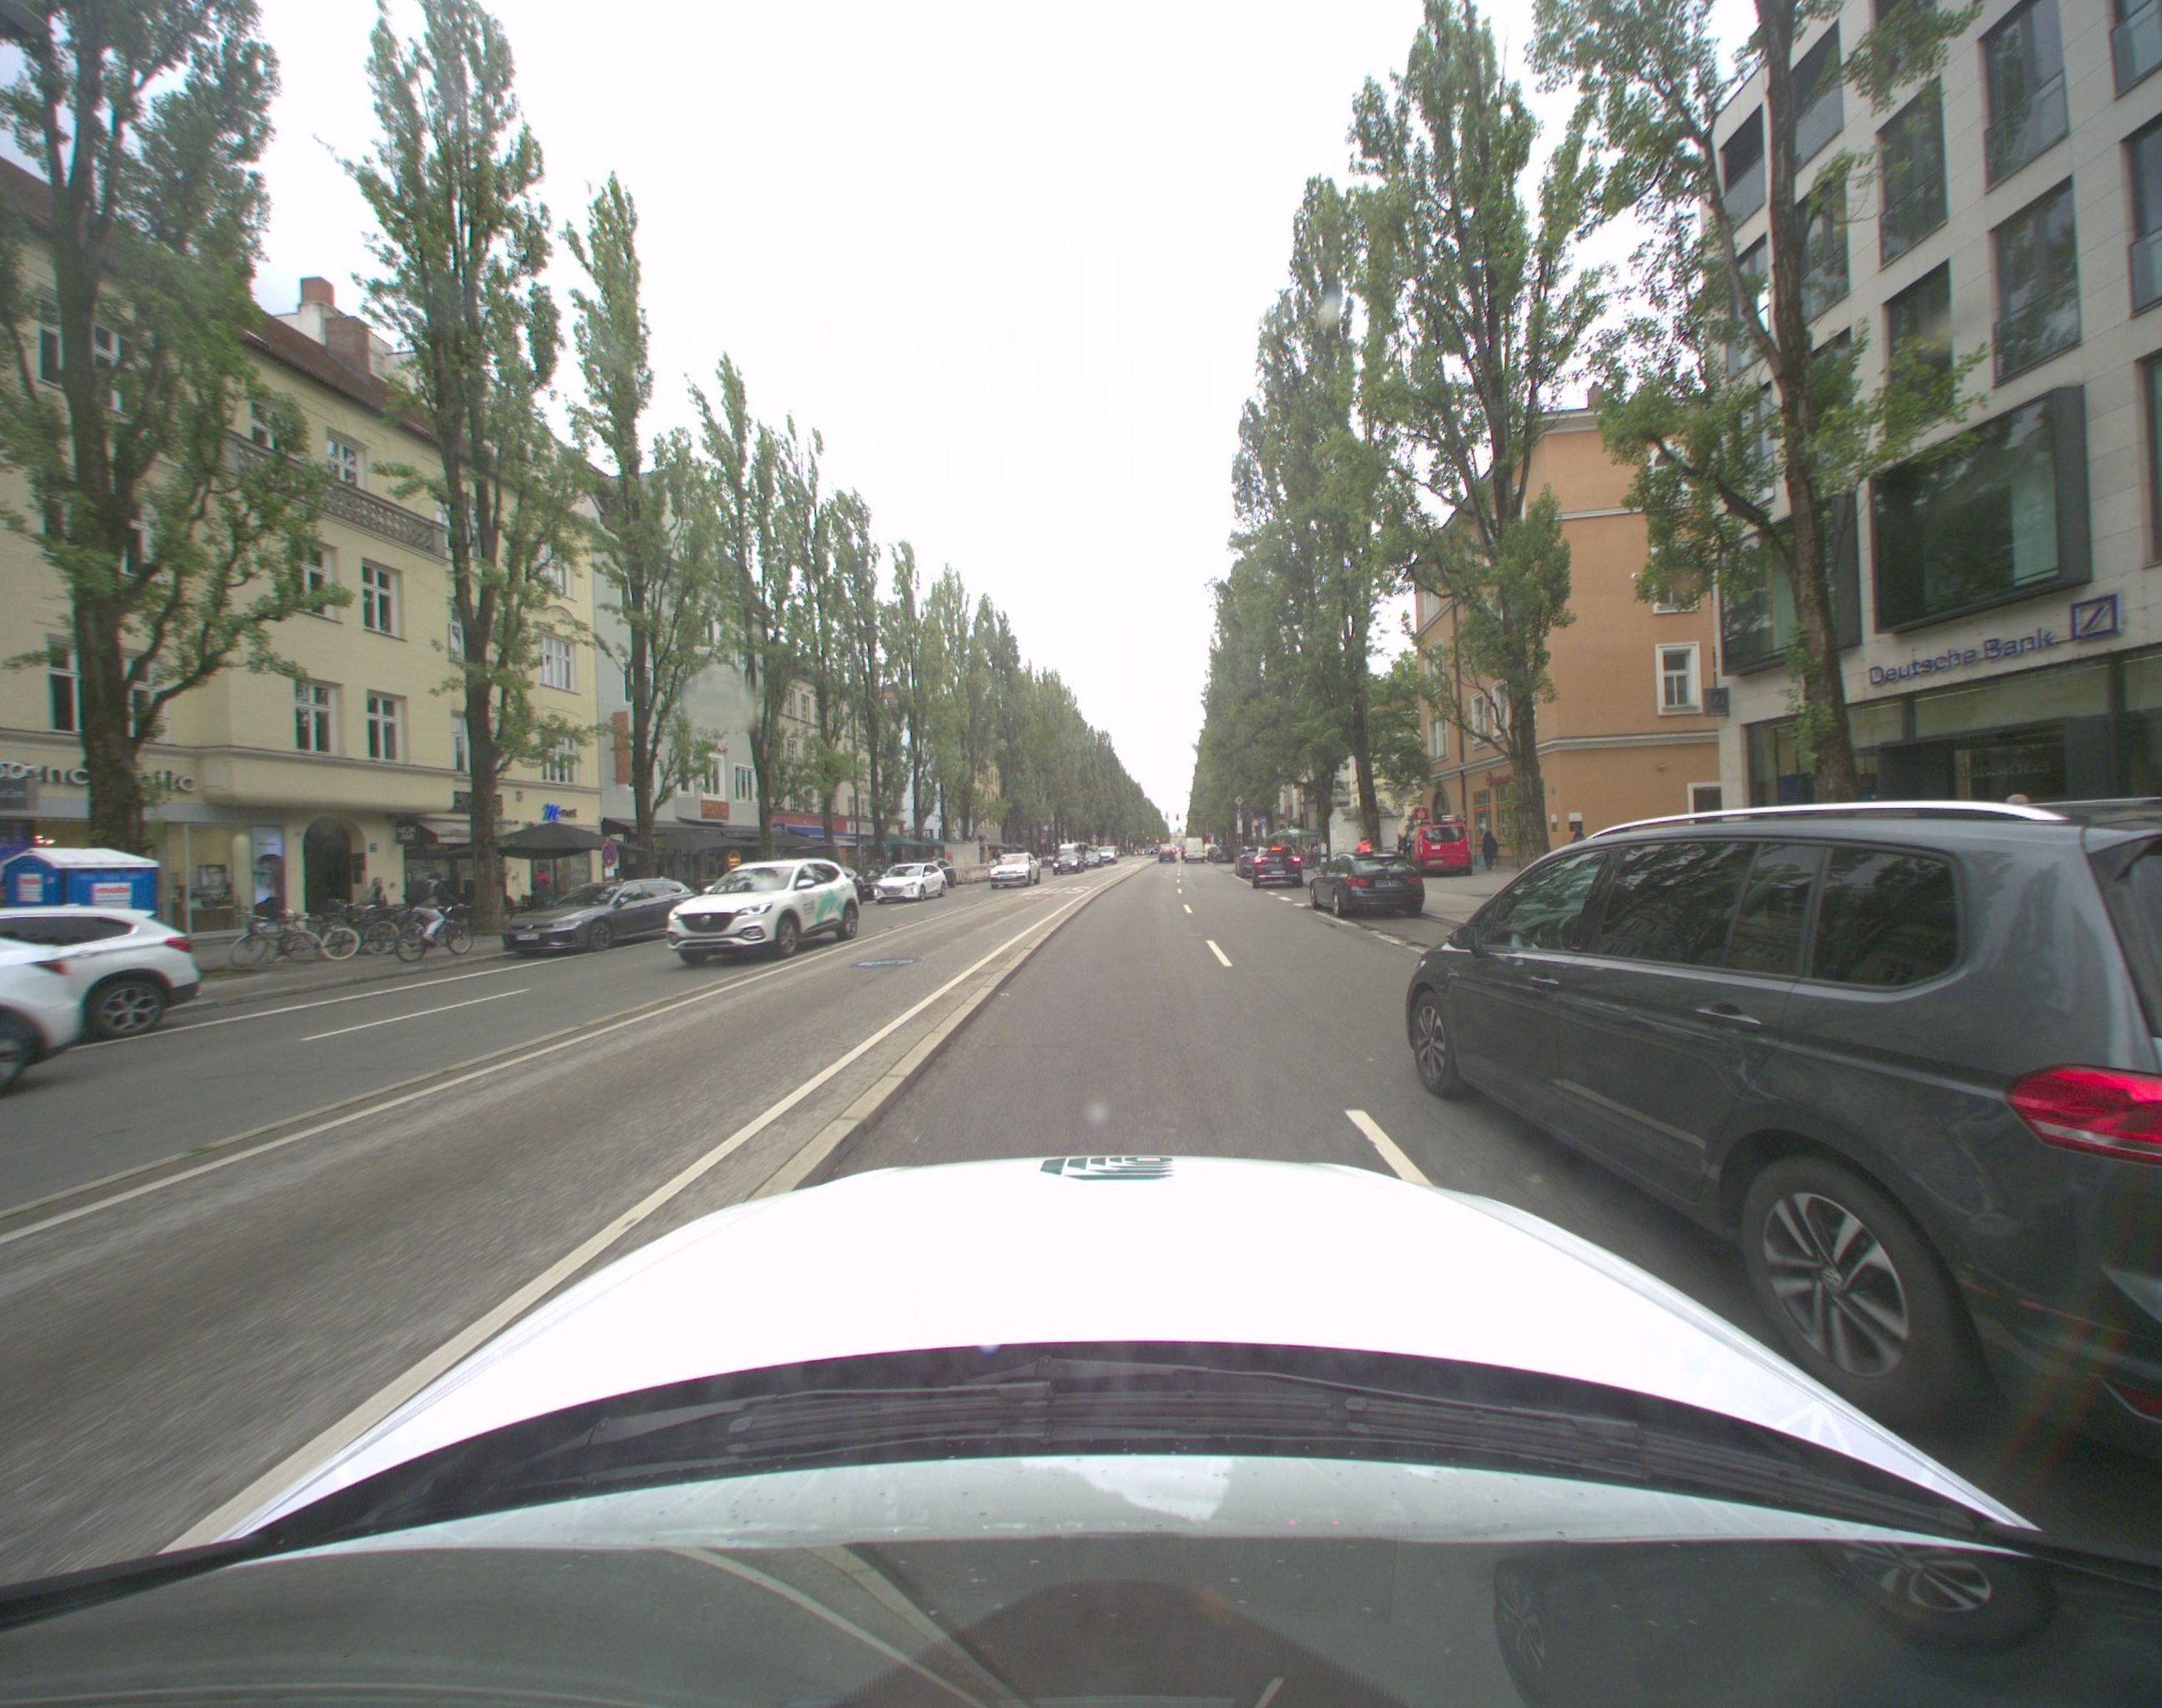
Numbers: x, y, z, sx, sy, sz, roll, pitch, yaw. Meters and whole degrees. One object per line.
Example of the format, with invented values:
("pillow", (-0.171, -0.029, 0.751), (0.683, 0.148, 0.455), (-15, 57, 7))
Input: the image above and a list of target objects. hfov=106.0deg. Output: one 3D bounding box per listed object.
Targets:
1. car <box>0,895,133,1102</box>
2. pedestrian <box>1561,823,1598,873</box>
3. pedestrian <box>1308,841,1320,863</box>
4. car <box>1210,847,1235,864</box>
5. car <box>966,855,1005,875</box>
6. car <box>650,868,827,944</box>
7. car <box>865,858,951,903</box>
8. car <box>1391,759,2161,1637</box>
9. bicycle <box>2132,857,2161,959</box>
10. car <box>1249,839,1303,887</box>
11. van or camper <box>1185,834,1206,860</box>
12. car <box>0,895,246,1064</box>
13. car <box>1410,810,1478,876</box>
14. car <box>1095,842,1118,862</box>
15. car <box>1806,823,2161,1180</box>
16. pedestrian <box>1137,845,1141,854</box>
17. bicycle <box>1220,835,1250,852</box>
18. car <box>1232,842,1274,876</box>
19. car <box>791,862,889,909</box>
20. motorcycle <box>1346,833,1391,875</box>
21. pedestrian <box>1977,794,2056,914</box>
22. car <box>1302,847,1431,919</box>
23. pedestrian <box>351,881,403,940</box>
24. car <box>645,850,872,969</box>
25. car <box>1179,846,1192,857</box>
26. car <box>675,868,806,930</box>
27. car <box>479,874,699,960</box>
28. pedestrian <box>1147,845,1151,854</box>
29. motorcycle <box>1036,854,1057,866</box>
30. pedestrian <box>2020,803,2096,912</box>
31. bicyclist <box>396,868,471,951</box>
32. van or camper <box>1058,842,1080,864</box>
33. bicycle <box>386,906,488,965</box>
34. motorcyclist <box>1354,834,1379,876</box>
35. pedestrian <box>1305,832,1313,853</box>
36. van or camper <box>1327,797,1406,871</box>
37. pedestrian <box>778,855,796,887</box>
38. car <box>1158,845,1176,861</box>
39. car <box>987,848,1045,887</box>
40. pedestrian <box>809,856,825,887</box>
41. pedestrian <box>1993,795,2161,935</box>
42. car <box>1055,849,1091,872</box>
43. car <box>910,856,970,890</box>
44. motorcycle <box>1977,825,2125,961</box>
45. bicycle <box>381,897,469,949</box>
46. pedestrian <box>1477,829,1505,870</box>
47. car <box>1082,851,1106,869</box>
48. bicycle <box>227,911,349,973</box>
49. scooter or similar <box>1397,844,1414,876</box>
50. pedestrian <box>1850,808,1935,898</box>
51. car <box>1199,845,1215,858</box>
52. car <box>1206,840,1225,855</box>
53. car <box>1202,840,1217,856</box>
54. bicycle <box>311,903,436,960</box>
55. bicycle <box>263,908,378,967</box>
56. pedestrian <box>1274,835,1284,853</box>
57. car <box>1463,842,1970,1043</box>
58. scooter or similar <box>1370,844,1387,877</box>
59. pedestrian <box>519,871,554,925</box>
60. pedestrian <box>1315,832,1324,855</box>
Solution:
("car", (-10.053, 1.288, 5.311), (1.983, 1.651, 4.644), (-4, 0, 6))
("pedestrian", (15.970, -0.184, 26.077), (0.607, 1.550, 0.710), (-4, 0, -21))
("pedestrian", (17.796, -0.137, 62.165), (0.662, 1.650, 0.630), (-2, 0, 33))
("car", (13.060, 0.097, 75.189), (1.934, 1.467, 4.007), (-3, 0, 6))
("car", (-6.441, 0.734, 55.490), (1.801, 1.250, 3.707), (-2, 0, 6))
("car", (-8.203, 1.179, 20.068), (1.929, 1.434, 4.548), (-3, 0, 7))
("car", (-6.691, 0.985, 32.046), (1.930, 1.493, 4.464), (-3, 0, 6))
("car", (2.944, 0.600, 3.518), (1.754, 1.613, 4.187), (-2, 0, 3))
("bicycle", (10.216, 0.519, 6.962), (0.430, 0.940, 1.768), (-3, 0, 12))
("car", (7.675, 0.299, 31.954), (1.867, 1.641, 4.601), (-3, 0, 14))
("van or camper", (11.764, -0.699, 83.827), (2.024, 2.475, 4.007), (-2, -1, 6))
("car", (-12.296, 1.428, 8.639), (1.982, 1.629, 4.392), (-3, 0, 8))
("car", (14.312, -0.442, 32.380), (1.886, 2.327, 4.848), (-3, 0, 18))
("car", (2.785, -0.236, 87.529), (1.983, 1.934, 4.927), (-4, -1, 6))
("car", (5.444, 0.601, 2.647), (1.924, 1.450, 4.805), (-3, 0, 1))
("pedestrian", (12.056, -0.912, 169.356), (0.550, 1.716, 0.494), (-3, 0, 7))
("bicycle", (19.131, -1.308, 101.009), (3.522, 2.014, 1.302), (-1, -1, 15))
("car", (8.792, 0.228, 41.834), (1.615, 1.565, 4.379), (-3, 0, 6))
("car", (-9.237, 1.184, 31.670), (1.983, 1.482, 4.329), (-3, 0, 7))
("motorcycle", (10.020, -0.001, 28.501), (0.823, 1.370, 2.254), (-3, 0, 3))
("pedestrian", (13.219, 0.001, 11.528), (0.544, 1.638, 0.562), (-2, 0, 31))
("car", (6.492, 0.575, 19.026), (1.725, 1.394, 4.439), (-3, 0, 5))
("pedestrian", (-19.679, 1.558, 22.784), (0.630, 1.561, 0.818), (-3, 0, 8))
("car", (-5.607, 0.851, 14.925), (1.851, 1.711, 4.544), (-4, 0, 6))
("car", (13.464, -0.316, 105.093), (1.496, 1.313, 3.289), (-2, 0, 6))
("car", (-10.122, 1.282, 24.544), (1.795, 1.519, 4.008), (-3, 0, 7))
("car", (-10.911, 1.319, 18.501), (1.929, 1.493, 4.305), (-3, 0, 7))
("pedestrian", (14.092, -0.950, 169.021), (0.550, 1.716, 0.494), (-3, 0, 7))
("motorcycle", (-3.439, 0.575, 82.387), (1.230, 1.140, 3.729), (-2, 0, 12))
("pedestrian", (13.874, 0.050, 11.577), (0.497, 1.491, 0.551), (-2, 0, 31))
("bicyclist", (-13.170, 1.109, 16.597), (0.494, 1.580, 1.109), (-3, 0, 6))
("van or camper", (-1.400, -0.148, 95.285), (1.983, 2.458, 4.259), (-2, 0, 6))
("bicycle", (-13.131, 1.635, 16.674), (0.506, 1.006, 1.770), (-3, 0, 6))
("motorcyclist", (9.975, 0.023, 28.475), (0.562, 1.406, 0.766), (-3, 0, 3))
("pedestrian", (18.607, -0.937, 66.426), (0.643, 1.646, 0.769), (-1, -1, 16))
("van or camper", (13.278, -0.916, 38.270), (2.447, 3.112, 4.726), (-3, 0, 7))
("pedestrian", (-16.334, 0.938, 45.205), (0.635, 1.700, 0.649), (-3, 0, 6))
("car", (9.122, -0.124, 85.935), (1.750, 1.619, 3.754), (-1, 0, 7))
("car", (-3.088, 0.612, 39.738), (1.930, 1.642, 4.471), (-3, 0, 6))
("pedestrian", (-16.198, 1.095, 50.033), (0.635, 1.862, 0.649), (-3, 0, 6))
("pedestrian", (12.019, 0.120, 9.864), (0.832, 1.576, 0.938), (-3, 0, -1))
("car", (-0.547, 0.460, 59.284), (1.983, 1.432, 4.781), (-4, 0, 6))
("car", (-7.548, 0.966, 44.044), (1.838, 1.564, 4.343), (-3, 1, 8))
("motorcycle", (10.297, 0.363, 8.626), (1.980, 1.251, 0.633), (-3, 0, -30))
("bicycle", (-15.198, 1.593, 18.861), (2.107, 1.101, 0.507), (-3, 0, 19))
("pedestrian", (16.932, -0.182, 33.624), (0.726, 1.626, 0.806), (-3, 0, 4))
("car", (1.146, 0.485, 71.697), (1.703, 1.414, 3.729), (-3, 0, 6))
("bicycle", (-15.438, 1.703, 15.886), (1.634, 1.041, 0.622), (-3, 0, -4))
("scooter or similar", (12.939, 0.238, 32.473), (0.482, 1.232, 1.173), (-4, 0, 19))
("pedestrian", (15.325, -0.027, 15.410), (0.732, 1.621, 0.840), (-3, 0, 8))
("car", (15.684, -0.297, 101.249), (1.753, 1.596, 4.007), (-1, 0, 6))
("car", (14.798, -0.695, 89.837), (1.795, 1.596, 4.007), (-1, 0, 6))
("car", (16.858, -0.727, 107.210), (1.795, 1.992, 4.007), (-1, 0, 6))
("bicycle", (-15.237, 1.659, 17.571), (2.004, 1.041, 0.622), (-3, 0, -4))
("bicycle", (-15.461, 1.682, 16.589), (1.634, 1.041, 0.622), (-3, 0, -4))
("pedestrian", (20.384, -1.054, 83.891), (0.810, 1.755, 0.934), (-3, 0, 2))
("car", (5.746, 0.642, 8.258), (1.839, 1.428, 4.430), (-2, 0, 3))
("scooter or similar", (12.053, 0.252, 32.993), (0.520, 1.232, 1.484), (-4, 0, 19))
("pedestrian", (-18.061, 1.453, 27.015), (0.536, 1.746, 0.756), (-2, 0, 6))
("pedestrian", (19.408, -0.873, 66.317), (0.696, 1.873, 0.769), (-1, -1, 16))
